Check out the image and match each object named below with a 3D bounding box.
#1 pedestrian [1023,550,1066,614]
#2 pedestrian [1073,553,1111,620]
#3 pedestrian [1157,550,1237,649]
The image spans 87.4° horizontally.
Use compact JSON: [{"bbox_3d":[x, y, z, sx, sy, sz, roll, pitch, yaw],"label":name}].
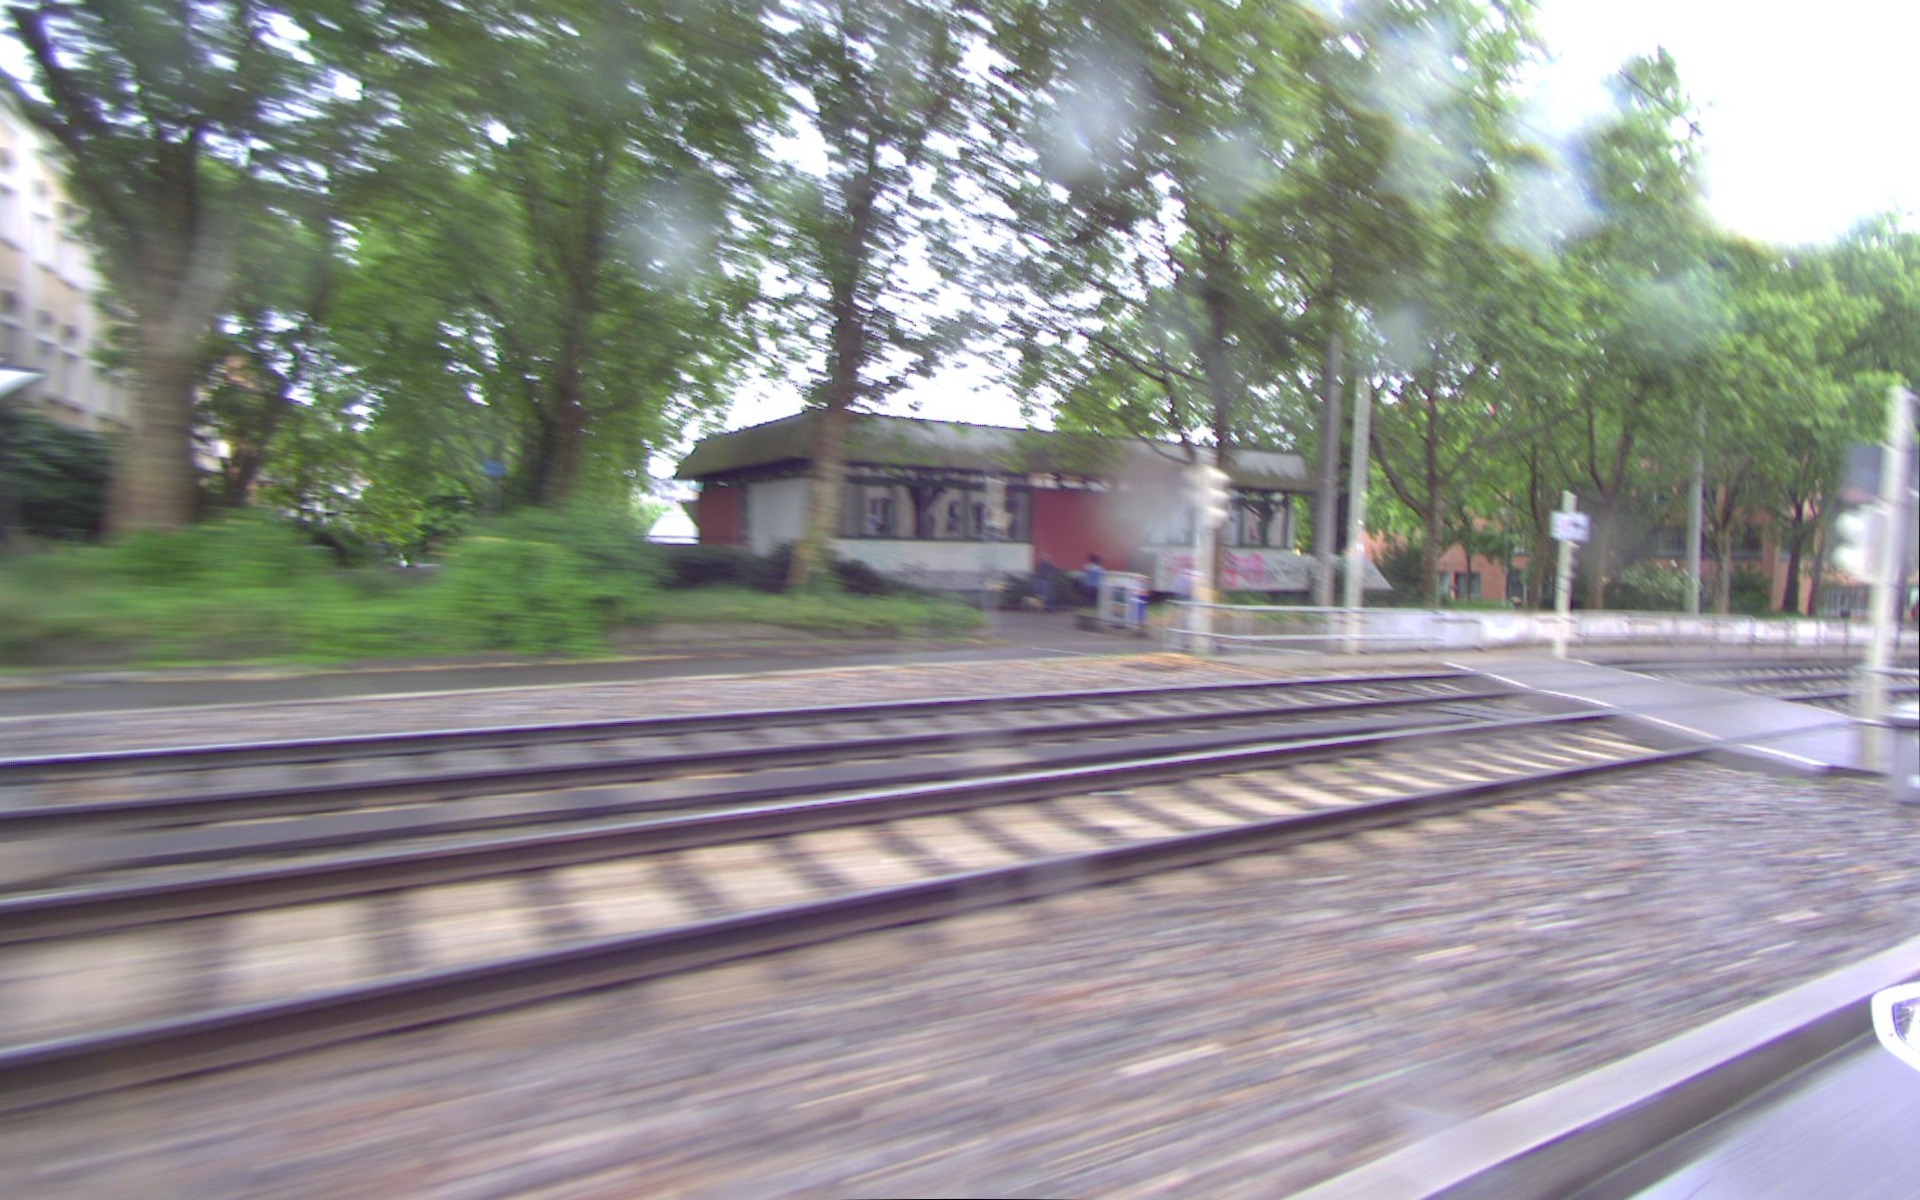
[{"bbox_3d":[2.300,-0.490,27.389,1.003,1.706,0.613,1,0,-30],"label":"pedestrian"},{"bbox_3d":[3.377,-0.346,25.622,0.684,1.684,0.638,2,1,40],"label":"pedestrian"},{"bbox_3d":[4.323,-0.029,18.393,0.893,1.742,1.049,1,2,-29],"label":"pedestrian"}]
